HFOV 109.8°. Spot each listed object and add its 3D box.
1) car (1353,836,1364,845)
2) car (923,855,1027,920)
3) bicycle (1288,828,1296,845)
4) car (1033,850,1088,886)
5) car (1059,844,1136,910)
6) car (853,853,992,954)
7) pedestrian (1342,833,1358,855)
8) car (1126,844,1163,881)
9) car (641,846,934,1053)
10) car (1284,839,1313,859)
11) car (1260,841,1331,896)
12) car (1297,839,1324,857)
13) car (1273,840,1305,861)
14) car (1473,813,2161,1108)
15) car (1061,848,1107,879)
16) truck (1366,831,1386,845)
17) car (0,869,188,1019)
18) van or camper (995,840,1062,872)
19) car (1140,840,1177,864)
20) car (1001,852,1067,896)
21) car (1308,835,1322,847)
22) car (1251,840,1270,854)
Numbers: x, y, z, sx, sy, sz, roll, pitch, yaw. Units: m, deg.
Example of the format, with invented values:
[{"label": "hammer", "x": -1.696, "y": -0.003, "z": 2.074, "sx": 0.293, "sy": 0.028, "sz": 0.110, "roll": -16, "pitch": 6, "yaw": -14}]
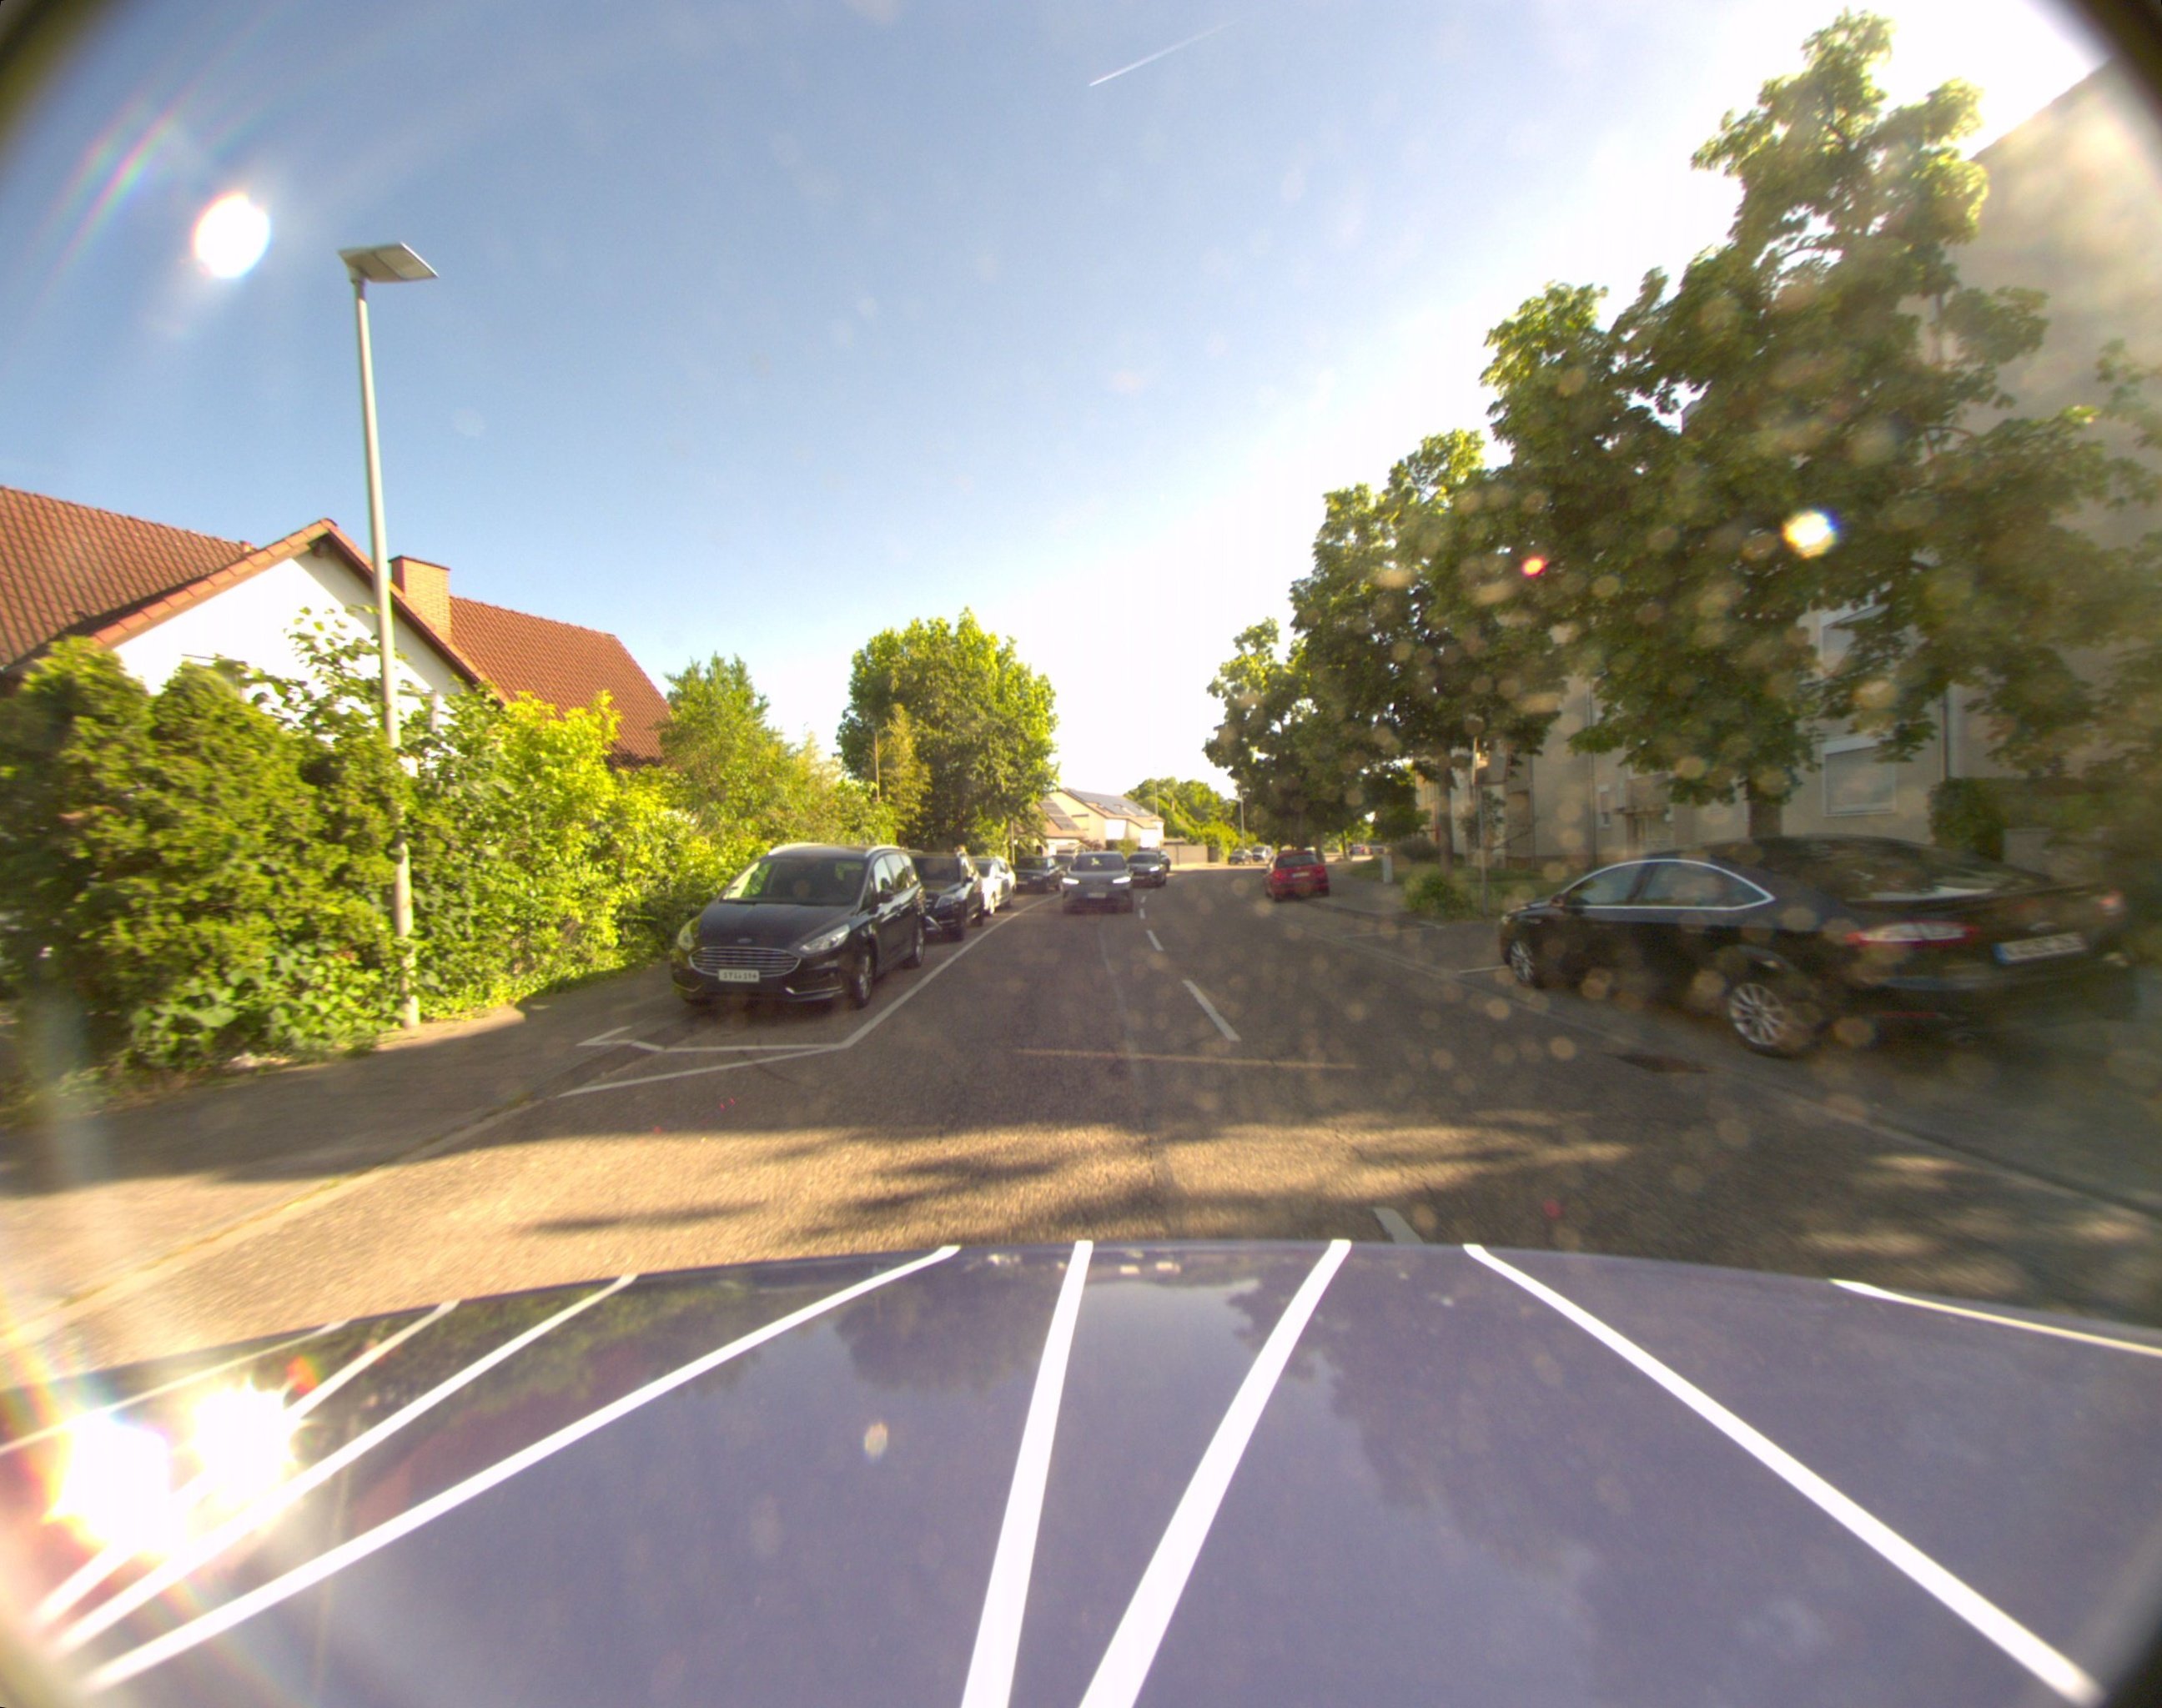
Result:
[{"label": "car", "x": 47.387, "y": -2.345, "z": 129.606, "sx": 1.544, "sy": 1.456, "sz": 3.709, "roll": -1, "pitch": 0, "yaw": 22}, {"label": "car", "x": -2.829, "y": 0.842, "z": 21.395, "sx": 1.766, "sy": 1.554, "sz": 4.664, "roll": -1, "pitch": 1, "yaw": 6}, {"label": "bicycle", "x": 12.901, "y": -1.038, "z": 46.480, "sx": 0.357, "sy": 1.001, "sz": 1.201, "roll": -3, "pitch": -1, "yaw": 18}, {"label": "car", "x": -0.915, "y": 0.633, "z": 36.429, "sx": 1.721, "sy": 1.565, "sz": 4.003, "roll": 1, "pitch": 1, "yaw": 12}, {"label": "car", "x": 0.541, "y": 0.572, "z": 20.946, "sx": 1.776, "sy": 1.624, "sz": 3.705, "roll": -1, "pitch": 0, "yaw": 6}, {"label": "car", "x": -2.991, "y": 0.853, "z": 15.320, "sx": 1.767, "sy": 1.666, "sz": 4.394, "roll": -1, "pitch": 1, "yaw": 1}, {"label": "pedestrian", "x": 20.796, "y": -0.767, "z": 58.821, "sx": 0.959, "sy": 1.619, "sz": 0.734, "roll": -1, "pitch": 1, "yaw": 38}, {"label": "car", "x": 2.924, "y": 0.349, "z": 34.897, "sx": 1.580, "sy": 1.569, "sz": 3.705, "roll": -1, "pitch": 0, "yaw": 5}, {"label": "car", "x": -3.046, "y": 0.838, "z": 9.003, "sx": 1.747, "sy": 1.802, "sz": 4.428, "roll": -1, "pitch": 1, "yaw": -1}, {"label": "car", "x": 17.922, "y": -0.436, "z": 62.547, "sx": 1.649, "sy": 1.530, "sz": 3.710, "roll": -1, "pitch": 0, "yaw": 26}, {"label": "car", "x": 6.824, "y": 0.407, "z": 24.535, "sx": 1.660, "sy": 1.485, "sz": 3.911, "roll": -5, "pitch": 0, "yaw": 9}, {"label": "car", "x": 19.894, "y": -0.520, "z": 65.749, "sx": 1.649, "sy": 1.530, "sz": 3.710, "roll": -1, "pitch": 0, "yaw": 26}, {"label": "car", "x": 15.836, "y": -0.259, "z": 57.754, "sx": 1.649, "sy": 1.530, "sz": 3.710, "roll": -1, "pitch": 0, "yaw": 26}, {"label": "car", "x": 5.557, "y": 0.590, "z": 6.606, "sx": 1.726, "sy": 1.485, "sz": 4.542, "roll": -7, "pitch": 1, "yaw": -1}, {"label": "car", "x": 0.195, "y": 0.458, "z": 41.067, "sx": 1.635, "sy": 1.565, "sz": 3.707, "roll": 1, "pitch": 1, "yaw": 14}, {"label": "truck", "x": 48.614, "y": -2.642, "z": 125.305, "sx": 2.408, "sy": 2.353, "sz": 4.534, "roll": -1, "pitch": 1, "yaw": 30}, {"label": "car", "x": -13.651, "y": 1.011, "z": 9.201, "sx": 5.082, "sy": 1.530, "sz": 2.524, "roll": -1, "pitch": 1, "yaw": 27}, {"label": "van or camper", "x": -3.436, "y": 0.130, "z": 49.746, "sx": 3.843, "sy": 2.002, "sz": 1.954, "roll": -1, "pitch": 1, "yaw": 28}, {"label": "car", "x": 5.822, "y": -0.163, "z": 56.578, "sx": 1.774, "sy": 1.727, "sz": 3.709, "roll": 1, "pitch": 1, "yaw": 22}, {"label": "car", "x": -1.802, "y": 0.747, "z": 30.465, "sx": 1.656, "sy": 1.554, "sz": 4.467, "roll": -1, "pitch": 1, "yaw": 9}, {"label": "car", "x": 34.528, "y": -1.913, "z": 112.265, "sx": 1.637, "sy": 1.569, "sz": 3.709, "roll": -1, "pitch": 0, "yaw": 22}, {"label": "car", "x": 21.142, "y": -0.821, "z": 89.337, "sx": 1.637, "sy": 1.569, "sz": 3.709, "roll": -1, "pitch": 0, "yaw": 22}]
